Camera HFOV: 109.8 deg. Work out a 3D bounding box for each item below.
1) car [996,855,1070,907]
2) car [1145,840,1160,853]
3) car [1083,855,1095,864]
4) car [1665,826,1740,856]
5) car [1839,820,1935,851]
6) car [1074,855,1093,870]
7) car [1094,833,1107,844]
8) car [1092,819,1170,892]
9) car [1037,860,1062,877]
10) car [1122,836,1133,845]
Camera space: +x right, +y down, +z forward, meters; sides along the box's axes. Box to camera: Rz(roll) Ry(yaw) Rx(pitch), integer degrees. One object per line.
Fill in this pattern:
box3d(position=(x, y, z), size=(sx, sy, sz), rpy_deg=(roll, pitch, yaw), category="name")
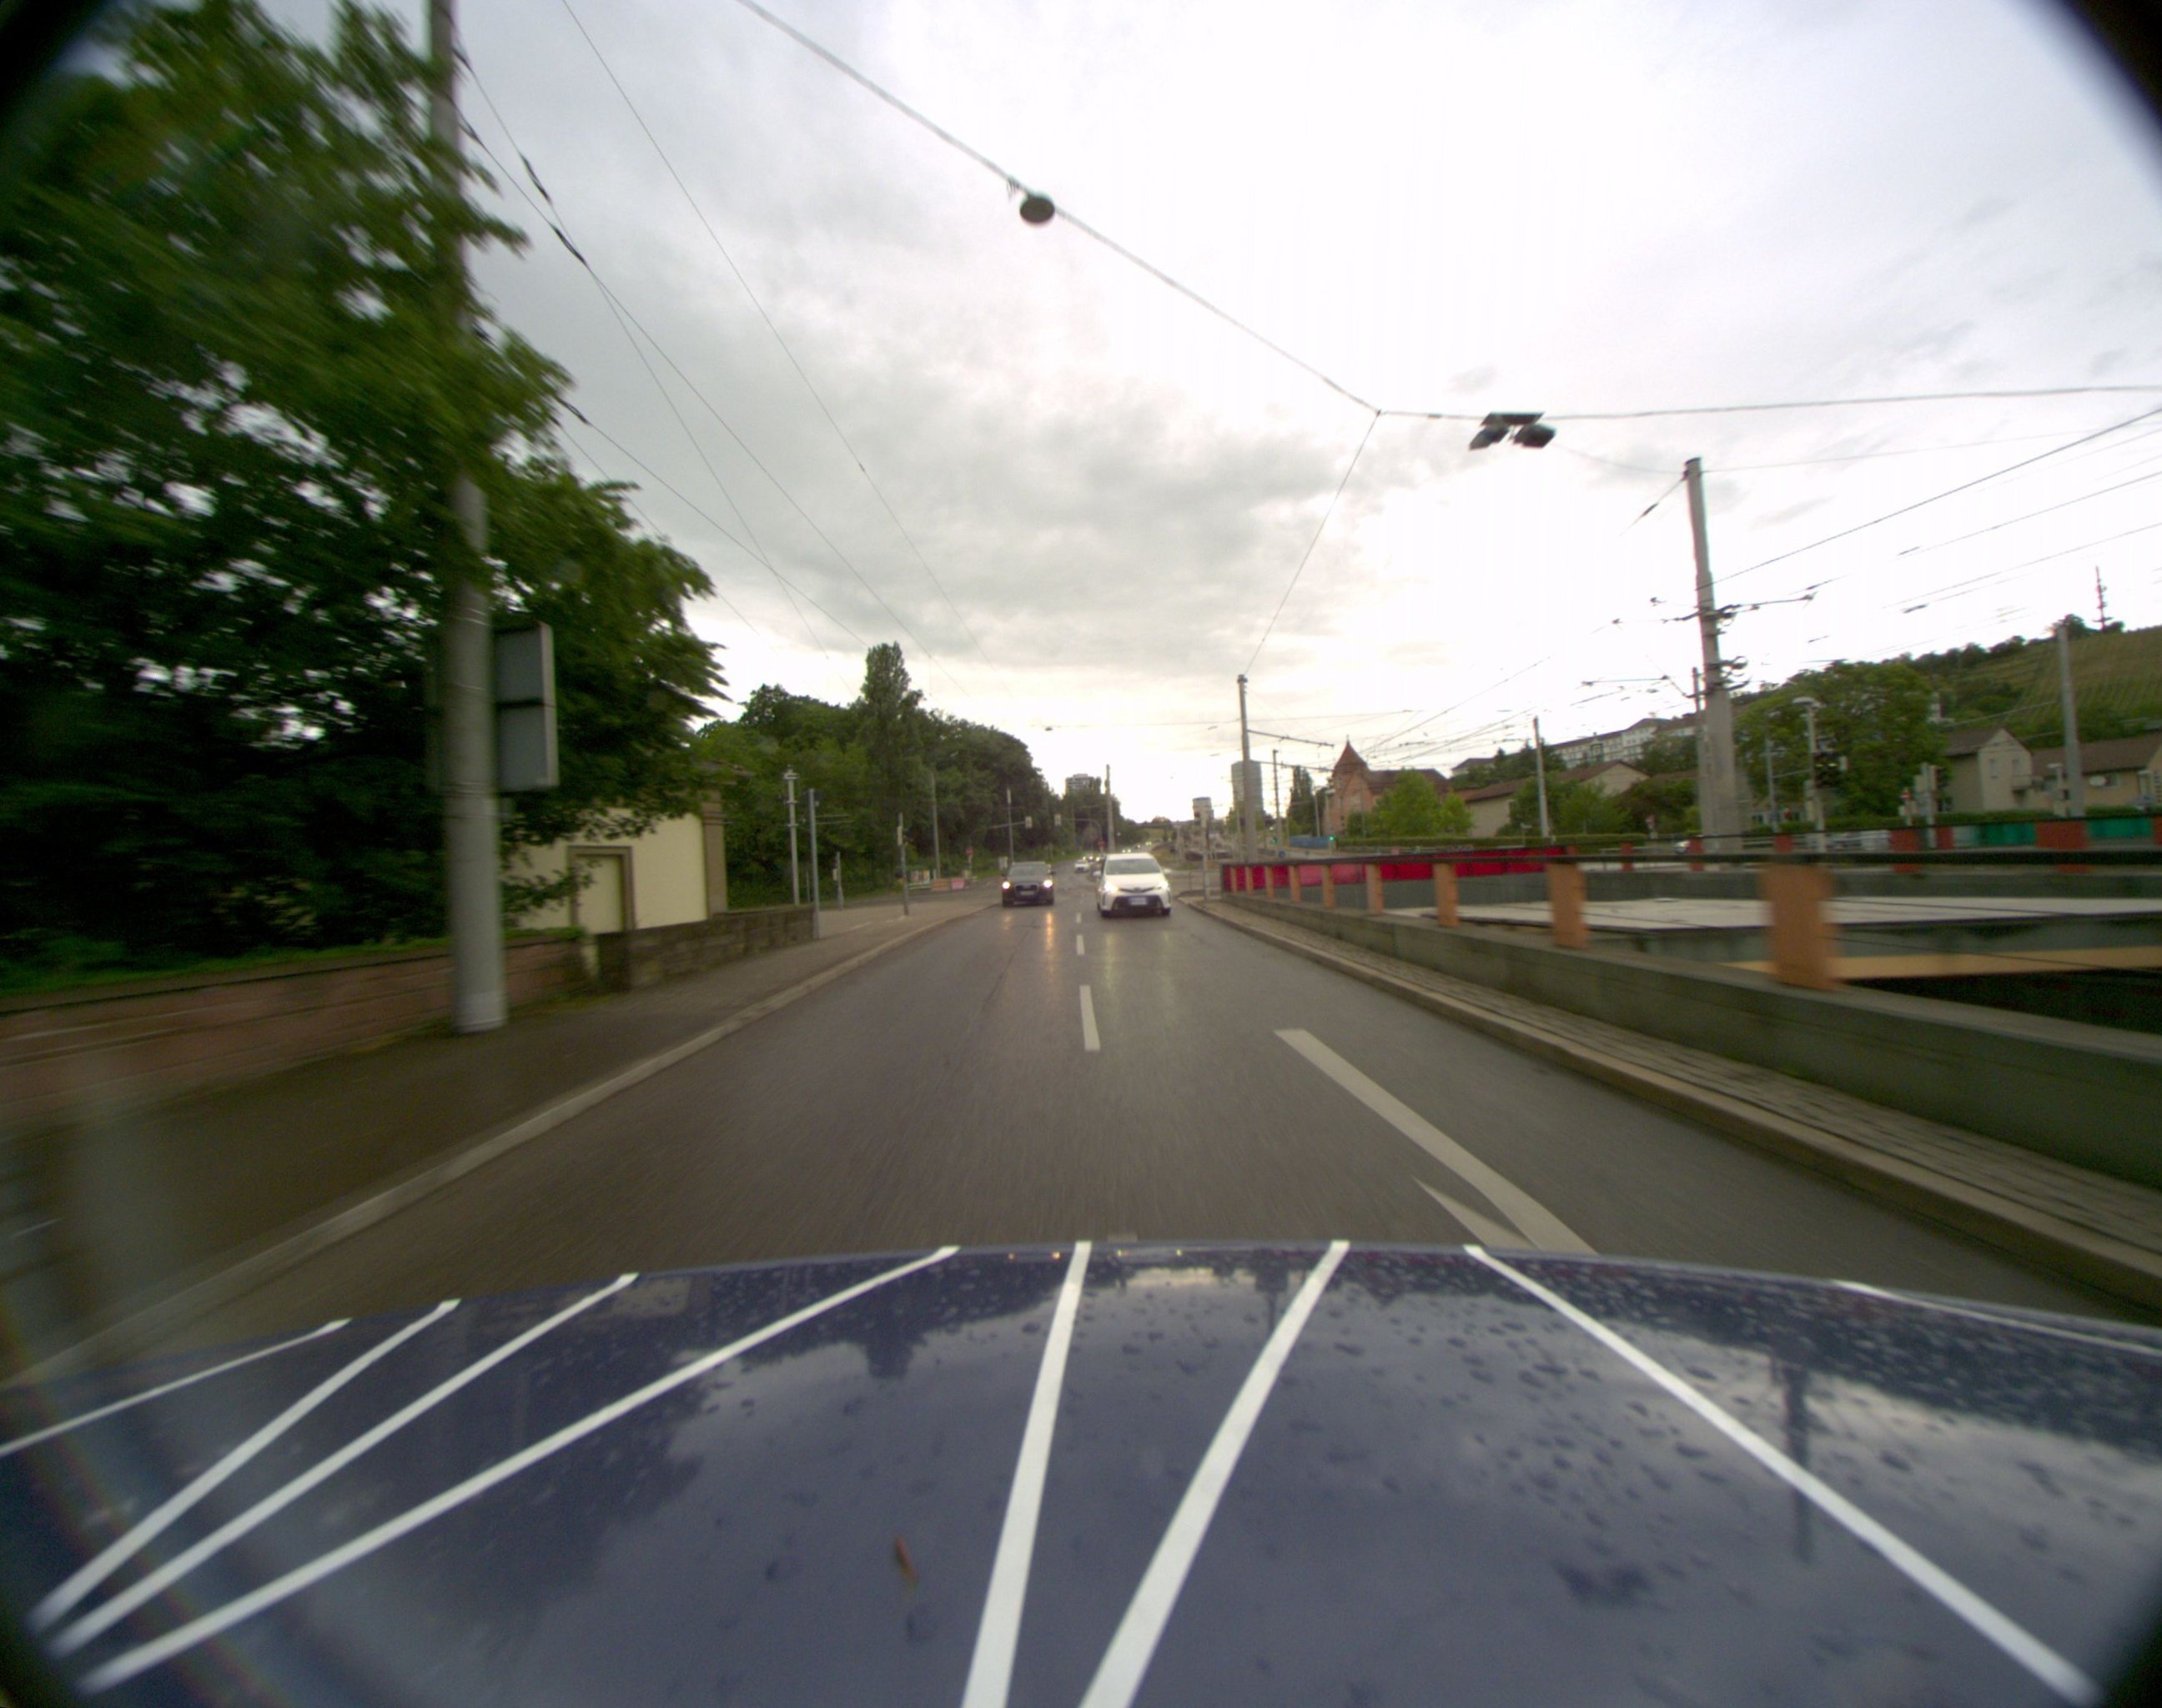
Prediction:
box3d(position=(-1.682, 0.932, 28.031), size=(1.855, 1.579, 4.001), rpy_deg=(-3, 2, 8), category="car")
box3d(position=(10.134, -1.060, 107.472), size=(1.737, 1.579, 4.001), rpy_deg=(-3, 2, 8), category="car")
box3d(position=(1.413, 0.926, 134.727), size=(1.801, 1.463, 4.001), rpy_deg=(-3, 1, 5), category="car")
box3d(position=(47.694, -0.992, 58.392), size=(3.993, 2.003, 2.001), rpy_deg=(-3, 3, 13), category="car")
box3d(position=(54.508, -1.236, 51.476), size=(3.993, 2.002, 2.001), rpy_deg=(-1, 2, 11), category="car")
box3d(position=(0.294, 1.048, 94.434), size=(1.737, 1.579, 4.001), rpy_deg=(-3, 2, 8), category="car")
box3d(position=(3.176, -2.522, 124.900), size=(1.802, 1.502, 4.001), rpy_deg=(-3, -2, -1), category="car")
box3d(position=(1.281, 0.012, 20.375), size=(1.855, 1.741, 4.000), rpy_deg=(-1, 1, 2), category="car")
box3d(position=(-3.332, 1.555, 81.551), size=(1.738, 1.577, 4.004), rpy_deg=(-6, -2, 9), category="car")
box3d(position=(8.330, -2.457, 136.225), size=(1.802, 1.463, 4.000), rpy_deg=(-3, 0, 0), category="car")
